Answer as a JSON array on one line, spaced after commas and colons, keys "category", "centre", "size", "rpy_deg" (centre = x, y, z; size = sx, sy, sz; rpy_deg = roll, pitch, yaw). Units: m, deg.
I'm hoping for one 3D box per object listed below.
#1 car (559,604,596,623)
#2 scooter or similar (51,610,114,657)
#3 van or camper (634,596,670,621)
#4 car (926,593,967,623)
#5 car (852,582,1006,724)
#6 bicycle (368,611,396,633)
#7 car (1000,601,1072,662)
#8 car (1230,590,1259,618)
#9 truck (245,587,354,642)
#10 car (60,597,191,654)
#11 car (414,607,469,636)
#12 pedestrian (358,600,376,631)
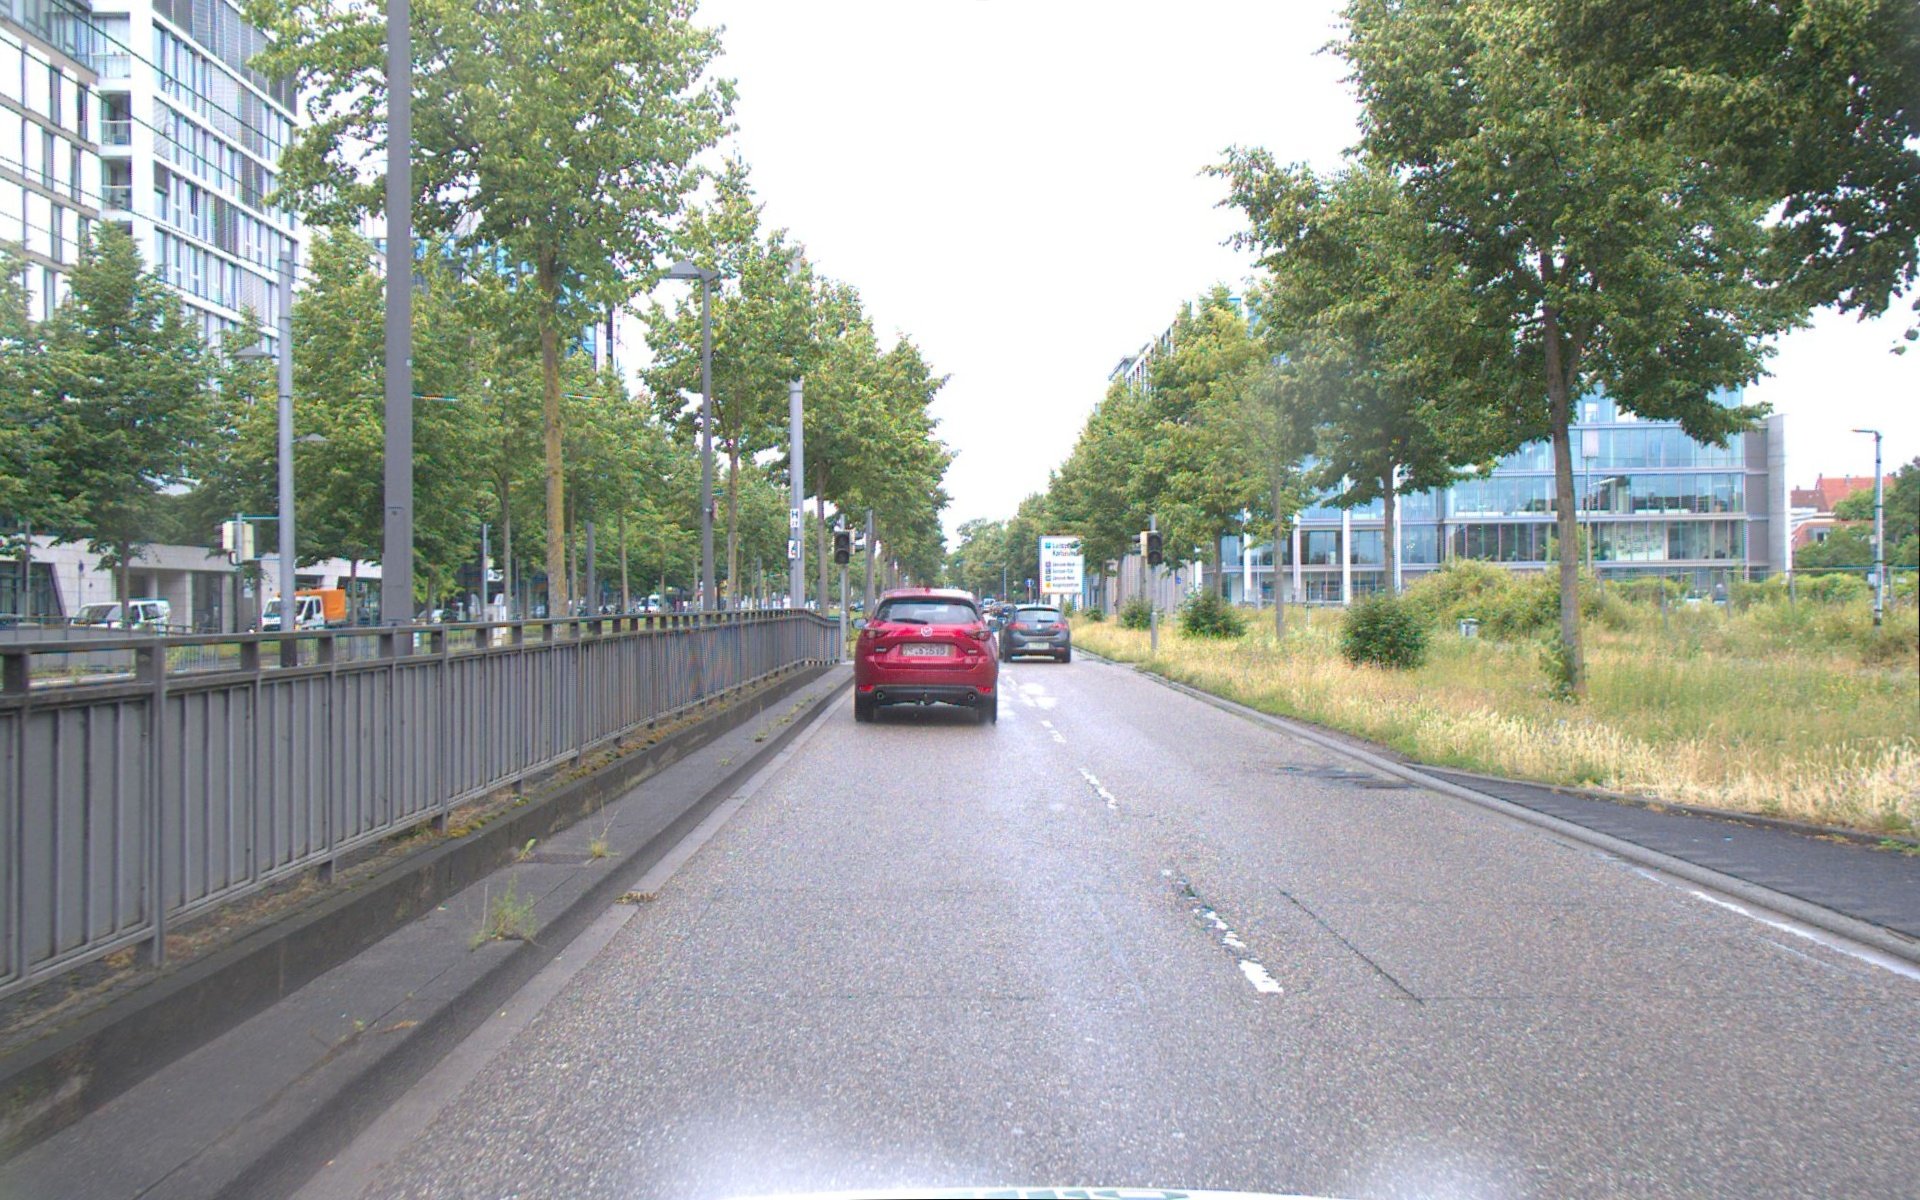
[{"category": "car", "centre": [-29.425, 1.045, 127.206], "size": [1.953, 1.402, 3.999], "rpy_deg": [0, 0, -1]}, {"category": "scooter or similar", "centre": [-35.601, 1.347, 67.138], "size": [2.083, 1.857, 0.884], "rpy_deg": [0, 0, -5]}, {"category": "van or camper", "centre": [-29.786, 0.794, 160.178], "size": [2.383, 2.356, 5.849], "rpy_deg": [0, 0, -1]}, {"category": "car", "centre": [-0.696, 0.388, 82.697], "size": [1.928, 1.462, 4.550], "rpy_deg": [1, 0, -2]}, {"category": "car", "centre": [-0.415, 0.635, 21.921], "size": [1.860, 1.706, 3.999], "rpy_deg": [0, 0, -1]}, {"category": "bicycle", "centre": [-27.080, 1.028, 77.496], "size": [0.586, 0.962, 1.758], "rpy_deg": [-1, 0, 3]}, {"category": "car", "centre": [1.935, 0.775, 42.818], "size": [1.708, 1.490, 3.781], "rpy_deg": [0, 0, 0]}, {"category": "car", "centre": [19.953, 0.312, 116.033], "size": [1.815, 1.609, 4.002], "rpy_deg": [0, -5, 6]}, {"category": "truck", "centre": [-29.329, 0.607, 73.719], "size": [2.377, 2.332, 6.307], "rpy_deg": [0, 0, -1]}, {"category": "car", "centre": [-28.664, 0.837, 57.003], "size": [1.953, 1.884, 5.163], "rpy_deg": [0, 0, -1]}, {"category": "car", "centre": [-28.749, 1.181, 91.827], "size": [1.817, 1.491, 3.987], "rpy_deg": [-1, 0, -1]}, {"category": "pedestrian", "centre": [-38.491, 1.020, 107.327], "size": [0.777, 2.016, 0.856], "rpy_deg": [0, 0, 7]}]
